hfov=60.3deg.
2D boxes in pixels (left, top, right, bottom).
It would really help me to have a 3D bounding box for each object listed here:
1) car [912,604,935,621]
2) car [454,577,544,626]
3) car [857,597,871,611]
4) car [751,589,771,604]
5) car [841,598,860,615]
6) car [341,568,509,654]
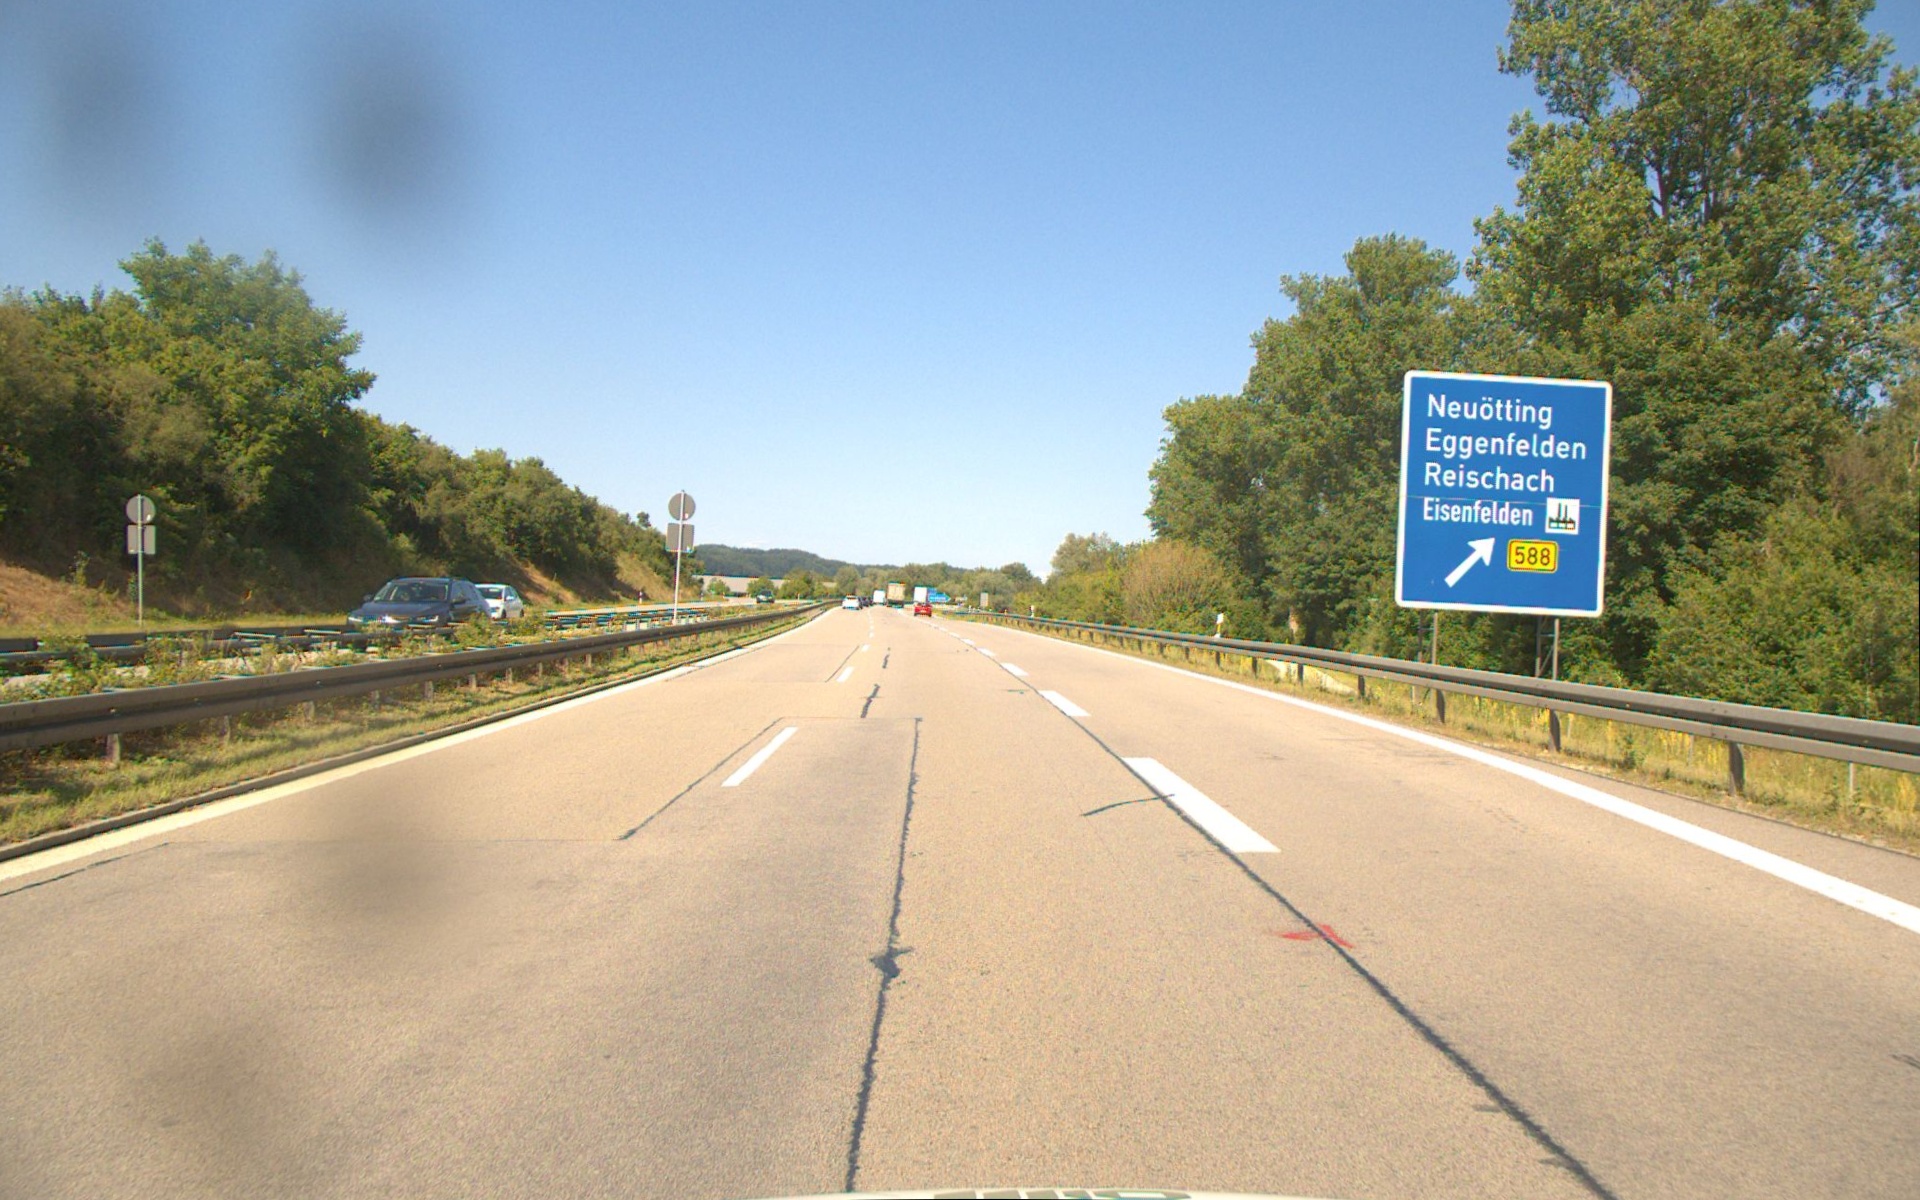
[{"bbox_3d":[-3.672,1.289,165.964,1.747,1.456,4.002,6,-1,5],"label":"car"},{"bbox_3d":[-14.909,0.045,53.689,1.802,1.464,4.410,2,0,-2],"label":"car"},{"bbox_3d":[-13.551,0.560,233.024,1.954,1.780,3.997,3,0,-4],"label":"car"},{"bbox_3d":[-23.564,-0.400,195.986,1.954,1.673,5.080,2,-1,-3],"label":"car"},{"bbox_3d":[-11.776,0.679,178.184,2.021,1.653,3.996,2,-2,-3],"label":"car"},{"bbox_3d":[-10.543,0.218,32.971,1.953,1.572,4.674,0,0,-2],"label":"car"}]
